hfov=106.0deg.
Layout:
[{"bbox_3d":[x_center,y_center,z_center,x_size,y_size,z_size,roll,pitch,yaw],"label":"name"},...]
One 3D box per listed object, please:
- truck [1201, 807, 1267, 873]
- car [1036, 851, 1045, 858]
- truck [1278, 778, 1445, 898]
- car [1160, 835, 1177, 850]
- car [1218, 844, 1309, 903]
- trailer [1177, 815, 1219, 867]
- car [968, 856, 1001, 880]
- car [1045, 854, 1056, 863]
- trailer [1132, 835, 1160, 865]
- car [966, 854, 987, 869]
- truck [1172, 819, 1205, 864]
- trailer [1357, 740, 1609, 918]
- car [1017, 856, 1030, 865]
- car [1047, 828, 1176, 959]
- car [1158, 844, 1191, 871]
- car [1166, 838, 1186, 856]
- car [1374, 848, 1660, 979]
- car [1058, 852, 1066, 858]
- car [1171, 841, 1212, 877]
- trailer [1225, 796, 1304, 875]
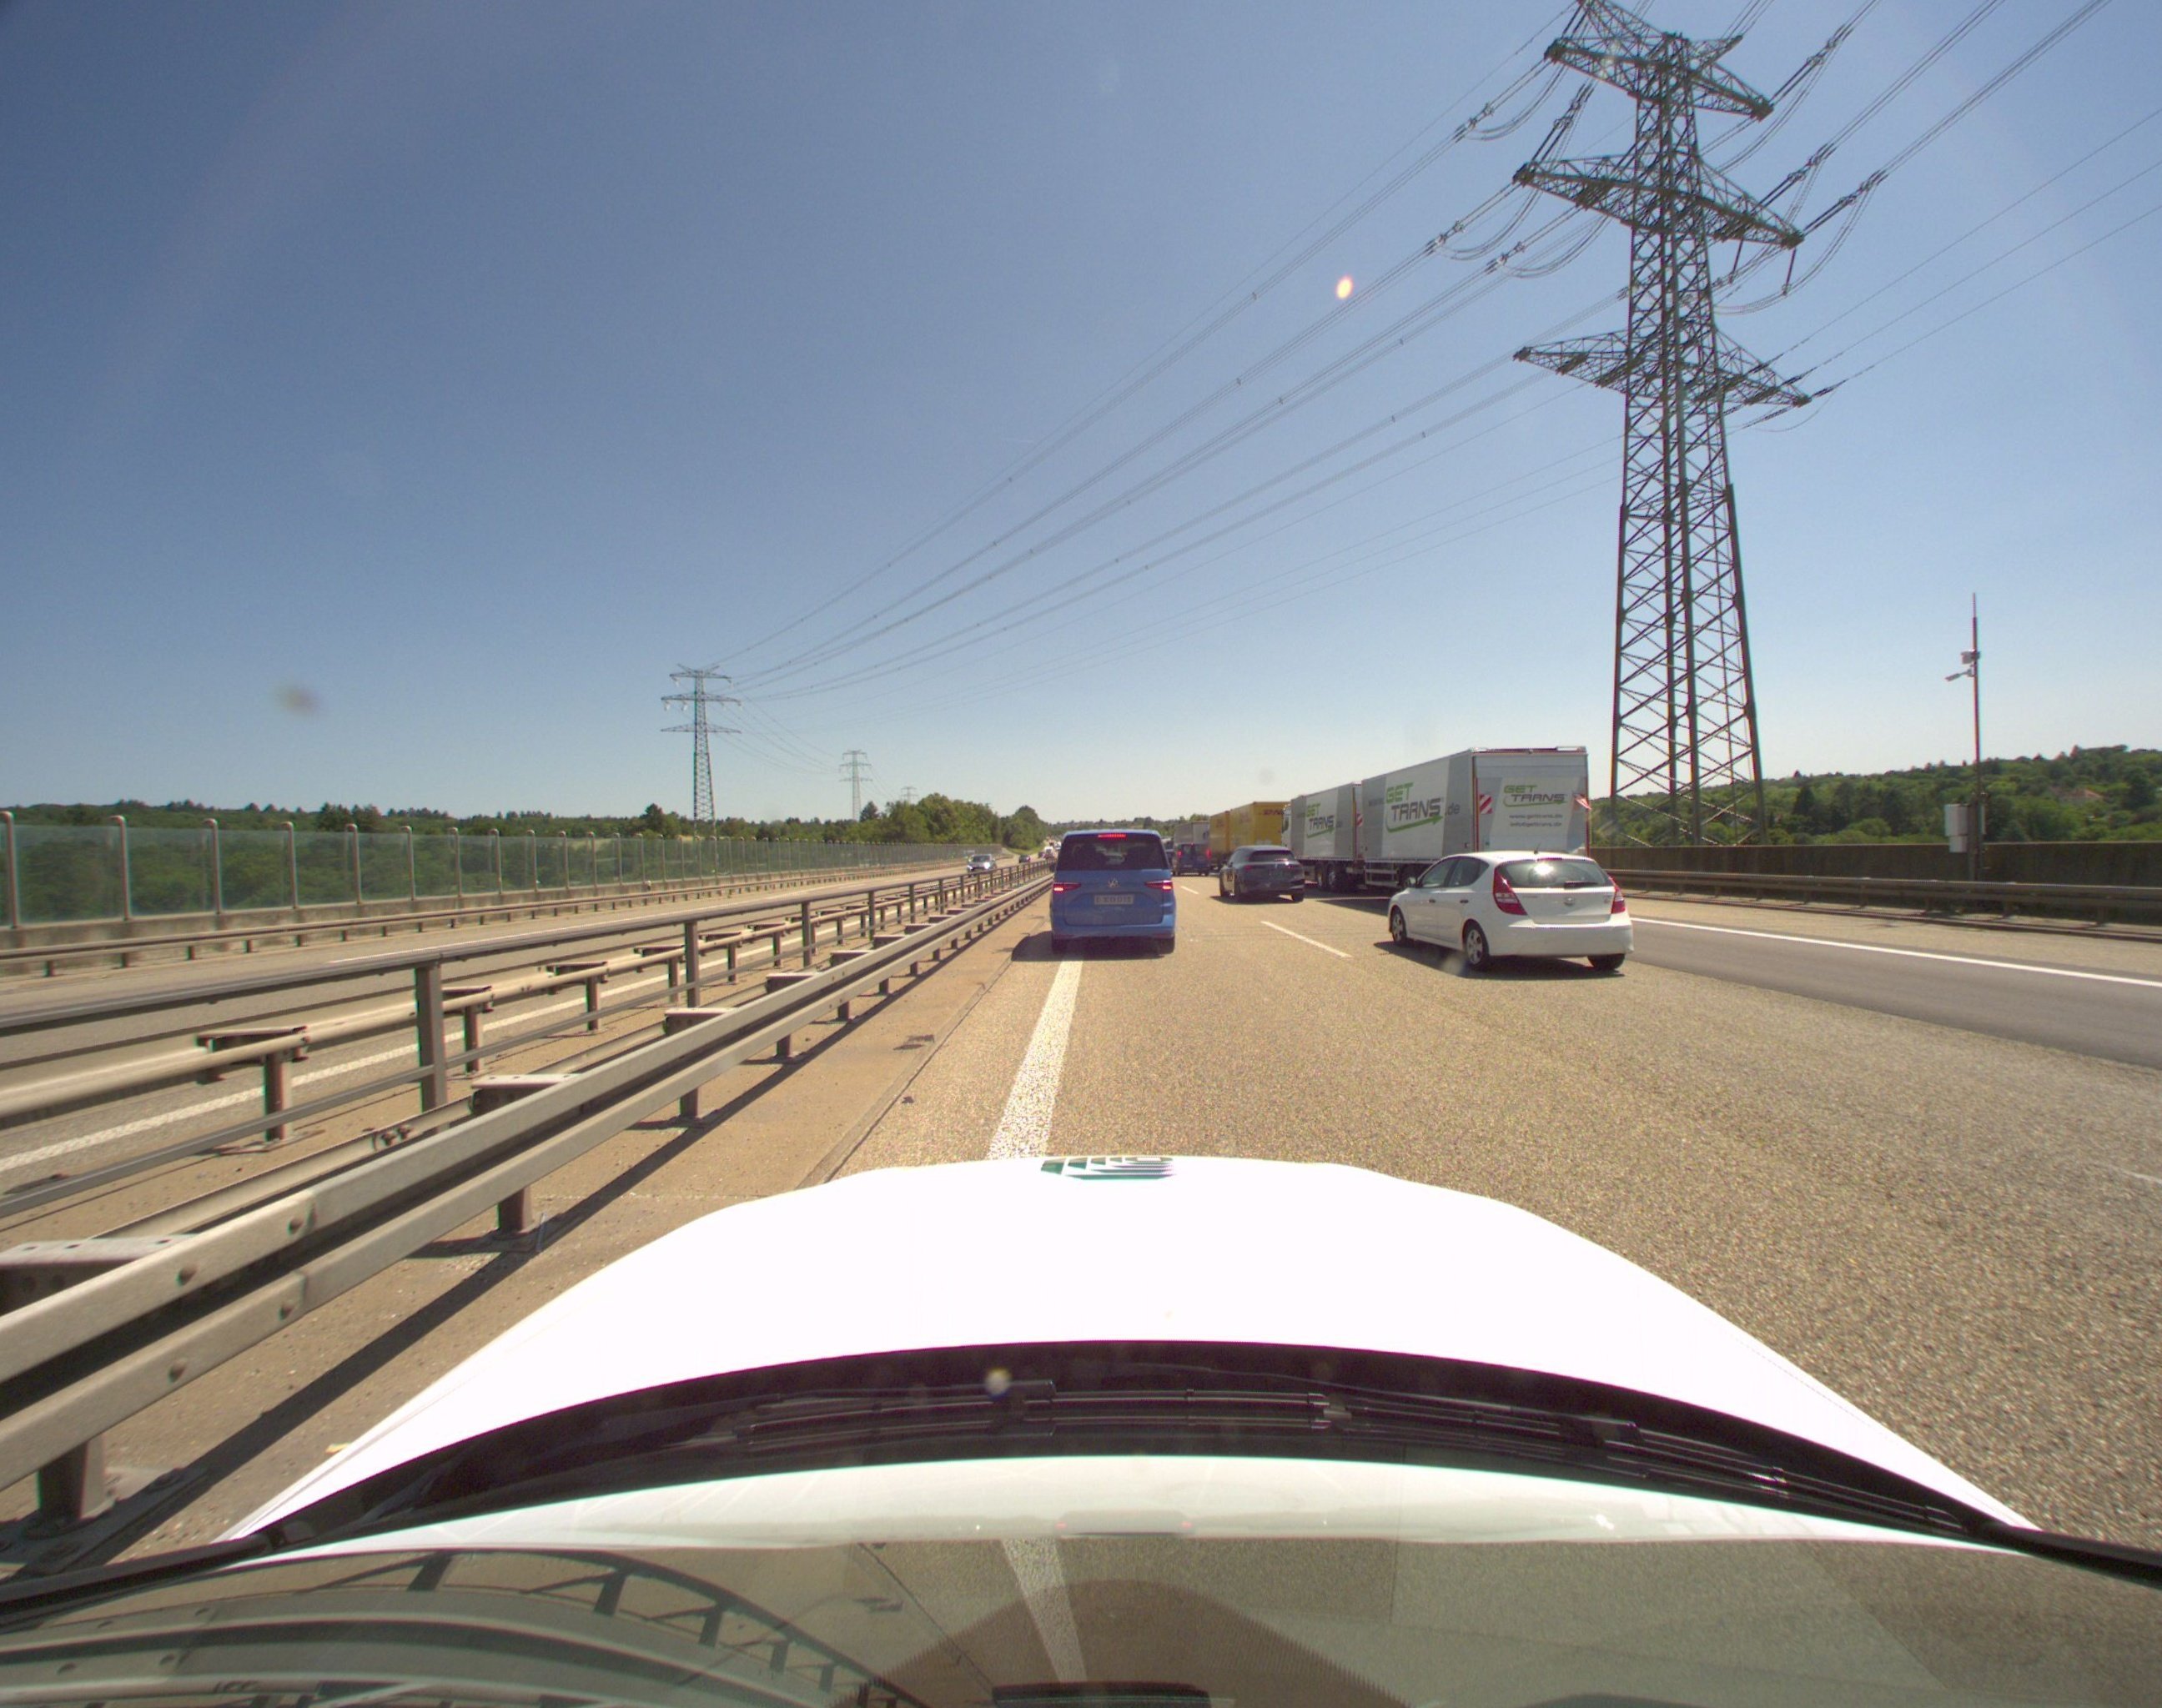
[{"bbox_3d":[10.645,-0.908,58.006,2.826,4.243,11.012,0,0,1],"label":"truck"},{"bbox_3d":[-9.270,0.011,188.466,1.723,1.491,4.420,-3,0,1],"label":"car"},{"bbox_3d":[10.023,-0.512,30.762,2.647,3.648,11.012,-1,0,1],"label":"truck"},{"bbox_3d":[12.004,-1.579,112.072,1.986,2.013,4.463,-2,0,2],"label":"car"},{"bbox_3d":[5.561,0.555,25.322,1.955,1.644,4.294,-1,0,1],"label":"car"},{"bbox_3d":[10.848,-1.164,76.574,2.627,4.516,11.304,0,0,1],"label":"trailer"},{"bbox_3d":[-7.141,1.009,60.751,1.799,1.627,4.479,-3,0,1],"label":"car"},{"bbox_3d":[-5.383,0.787,143.020,1.592,1.317,4.342,-3,0,1],"label":"car"},{"bbox_3d":[6.986,-0.394,88.665,2.560,2.990,10.667,0,0,2],"label":"trailer"},{"bbox_3d":[-13.915,0.945,108.871,1.986,1.885,5.257,-1,0,1],"label":"car"},{"bbox_3d":[11.042,-1.201,83.934,2.657,4.484,6.852,0,0,2],"label":"truck"},{"bbox_3d":[9.860,-0.538,21.231,2.688,3.700,8.016,-1,0,1],"label":"trailer"},{"bbox_3d":[-9.431,1.130,134.012,1.592,1.350,4.180,-4,0,1],"label":"car"},{"bbox_3d":[0.493,0.568,13.630,1.813,1.857,4.076,0,0,2],"label":"car"},{"bbox_3d":[6.647,0.262,58.204,1.986,1.816,4.001,-1,0,1],"label":"car"},{"bbox_3d":[10.996,-0.798,94.350,1.986,2.014,4.001,0,0,1],"label":"car"},{"bbox_3d":[5.734,0.668,11.412,1.782,1.455,4.294,-1,0,1],"label":"car"},{"bbox_3d":[-4.888,0.326,207.410,1.784,1.478,3.990,-2,0,2],"label":"car"},{"bbox_3d":[6.530,0.260,48.448,1.955,1.993,4.294,-1,0,1],"label":"car"},{"bbox_3d":[10.578,-0.963,47.981,2.854,4.239,9.014,0,0,1],"label":"trailer"}]
